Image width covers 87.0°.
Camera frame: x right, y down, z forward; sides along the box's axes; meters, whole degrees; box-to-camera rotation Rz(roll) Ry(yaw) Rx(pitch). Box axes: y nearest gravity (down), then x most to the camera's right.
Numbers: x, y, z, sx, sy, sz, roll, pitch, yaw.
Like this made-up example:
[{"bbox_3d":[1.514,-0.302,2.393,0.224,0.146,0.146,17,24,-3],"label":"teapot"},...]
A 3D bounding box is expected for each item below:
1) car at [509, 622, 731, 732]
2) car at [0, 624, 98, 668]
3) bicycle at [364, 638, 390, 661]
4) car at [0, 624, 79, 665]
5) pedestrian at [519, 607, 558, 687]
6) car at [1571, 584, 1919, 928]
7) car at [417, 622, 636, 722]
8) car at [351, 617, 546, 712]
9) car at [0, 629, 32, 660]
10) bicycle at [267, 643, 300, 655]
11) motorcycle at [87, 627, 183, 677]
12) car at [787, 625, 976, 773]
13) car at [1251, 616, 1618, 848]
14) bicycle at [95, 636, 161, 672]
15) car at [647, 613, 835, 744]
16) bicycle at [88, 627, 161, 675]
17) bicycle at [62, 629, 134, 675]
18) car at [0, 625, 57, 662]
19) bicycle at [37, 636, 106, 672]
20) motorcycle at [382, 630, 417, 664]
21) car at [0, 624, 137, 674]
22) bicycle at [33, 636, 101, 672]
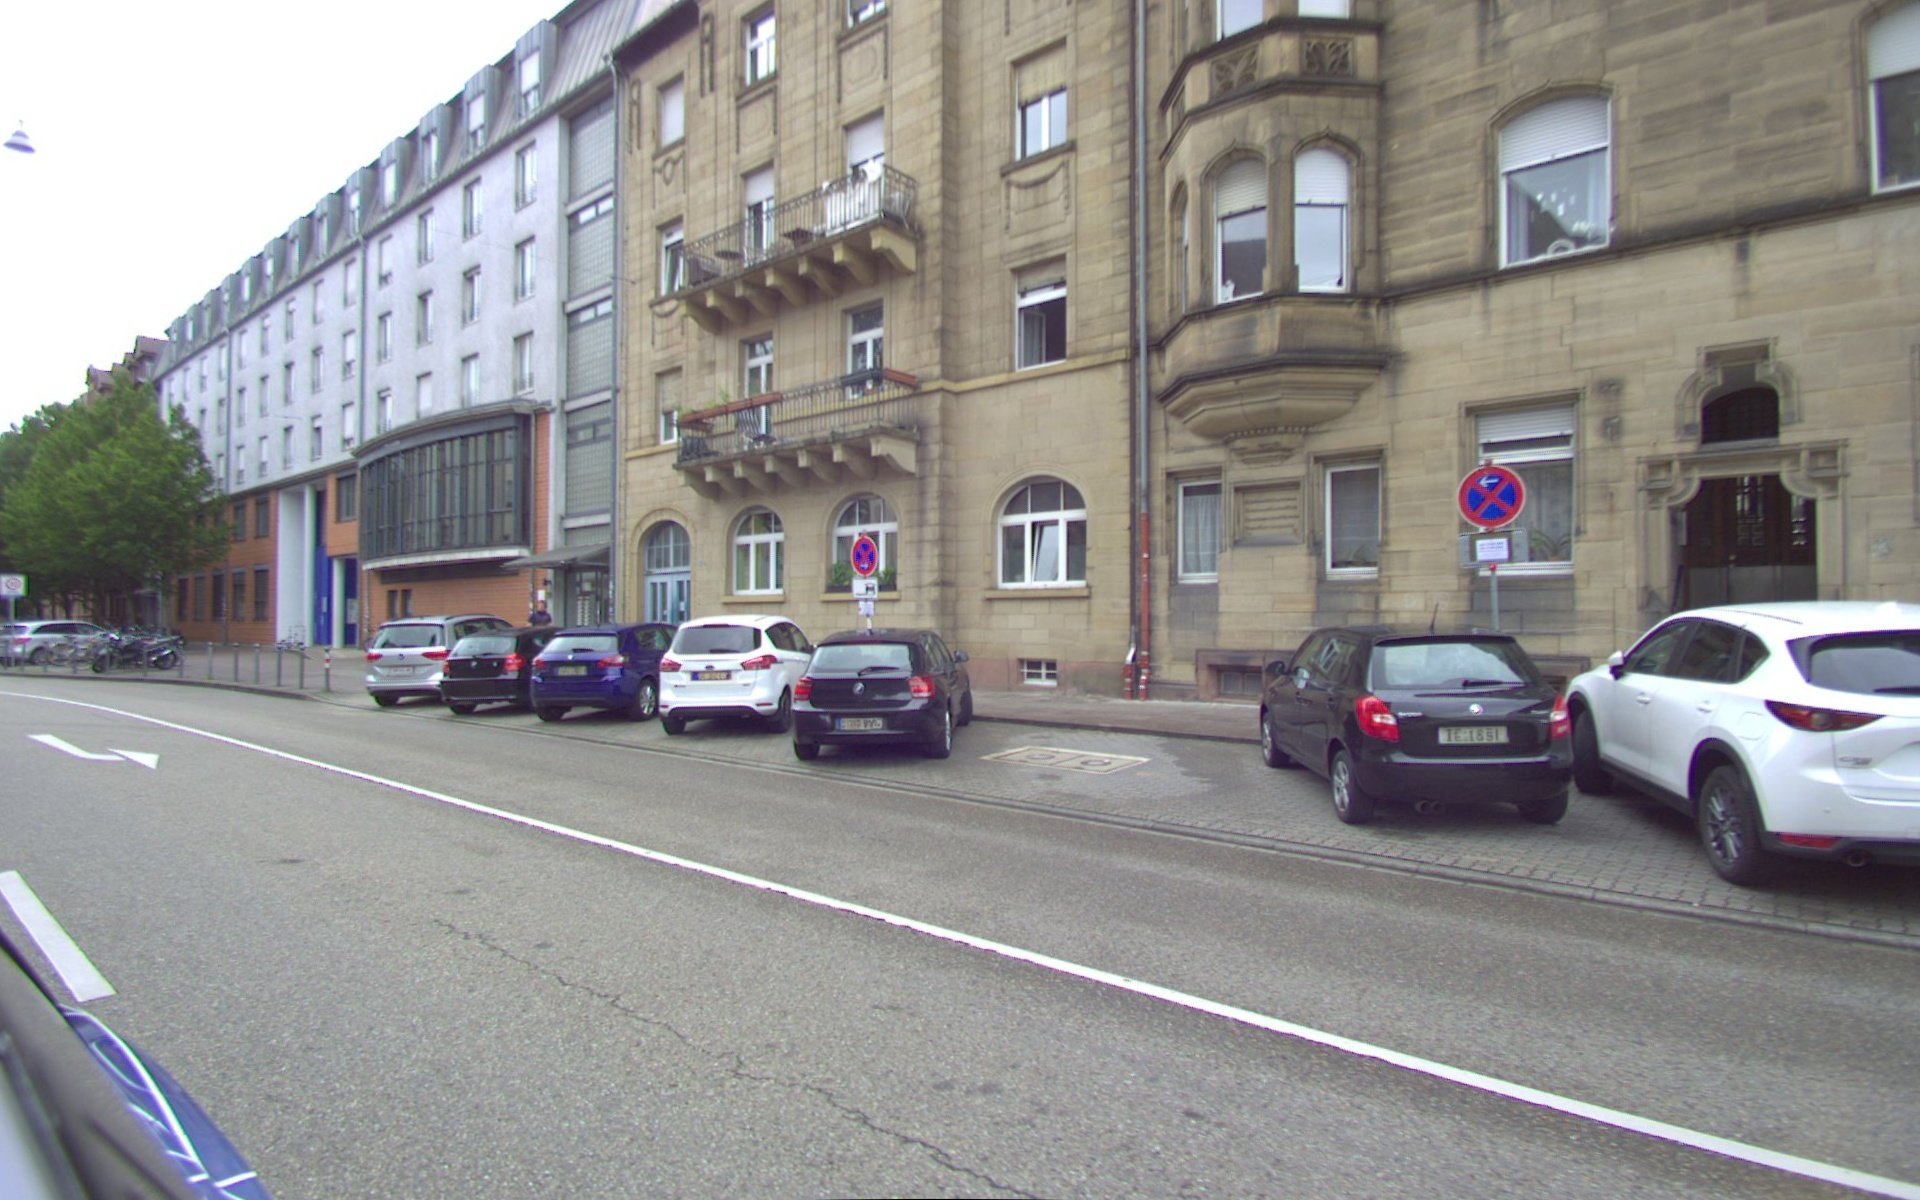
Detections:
[{"bbox_3d":[-5.329,1.152,16.418,1.804,1.456,3.736,-1,0,11],"label":"car"},{"bbox_3d":[-36.493,1.767,39.411,1.984,1.641,3.976,0,-2,18],"label":"car"},{"bbox_3d":[-20.393,1.720,35.386,1.581,0.793,0.332,-2,-3,42],"label":"bicycle"},{"bbox_3d":[-38.700,1.796,41.090,1.984,1.641,3.976,0,-2,18],"label":"car"},{"bbox_3d":[-9.850,1.081,23.643,0.642,1.837,0.613,-2,-3,41],"label":"pedestrian"},{"bbox_3d":[5.803,0.814,6.901,1.825,1.737,3.978,0,-1,17],"label":"car"},{"bbox_3d":[-7.524,1.192,18.029,1.714,1.449,3.989,-1,0,9],"label":"car"},{"bbox_3d":[-9.895,1.180,19.947,1.710,1.566,3.998,-1,0,2],"label":"car"},{"bbox_3d":[-48.185,2.187,49.337,1.724,1.508,3.976,0,-2,18],"label":"car"},{"bbox_3d":[-27.199,1.966,40.709,0.527,0.440,0.997,1,-1,43],"label":"bicycle"},{"bbox_3d":[-24.089,1.501,29.576,0.599,1.363,2.096,-1,-1,42],"label":"motorcycle"},{"bbox_3d":[-0.786,1.060,12.386,1.641,1.428,3.993,0,0,6],"label":"car"},{"bbox_3d":[3.795,0.935,8.853,1.549,1.508,3.809,0,0,3],"label":"car"},{"bbox_3d":[-27.138,1.742,33.015,0.416,1.082,1.609,-1,-1,40],"label":"bicycle"},{"bbox_3d":[-3.049,1.026,14.899,1.681,1.566,3.996,-1,0,3],"label":"car"},{"bbox_3d":[-24.877,1.498,30.149,0.416,1.363,1.609,-1,-1,40],"label":"bicycle"},{"bbox_3d":[-25.840,1.532,30.364,0.416,1.299,1.609,-1,-1,40],"label":"bicycle"},{"bbox_3d":[-43.149,1.913,45.029,1.984,1.641,3.976,0,-2,18],"label":"car"},{"bbox_3d":[-28.677,1.738,32.679,0.416,1.082,1.609,-1,-1,40],"label":"bicycle"},{"bbox_3d":[-18.580,1.539,33.538,1.762,1.106,0.440,-2,-3,42],"label":"motorcycle"},{"bbox_3d":[-31.869,1.694,35.778,1.758,1.641,3.976,0,-2,18],"label":"car"},{"bbox_3d":[-29.062,1.740,32.948,0.416,1.082,1.609,-1,-1,40],"label":"bicycle"}]
